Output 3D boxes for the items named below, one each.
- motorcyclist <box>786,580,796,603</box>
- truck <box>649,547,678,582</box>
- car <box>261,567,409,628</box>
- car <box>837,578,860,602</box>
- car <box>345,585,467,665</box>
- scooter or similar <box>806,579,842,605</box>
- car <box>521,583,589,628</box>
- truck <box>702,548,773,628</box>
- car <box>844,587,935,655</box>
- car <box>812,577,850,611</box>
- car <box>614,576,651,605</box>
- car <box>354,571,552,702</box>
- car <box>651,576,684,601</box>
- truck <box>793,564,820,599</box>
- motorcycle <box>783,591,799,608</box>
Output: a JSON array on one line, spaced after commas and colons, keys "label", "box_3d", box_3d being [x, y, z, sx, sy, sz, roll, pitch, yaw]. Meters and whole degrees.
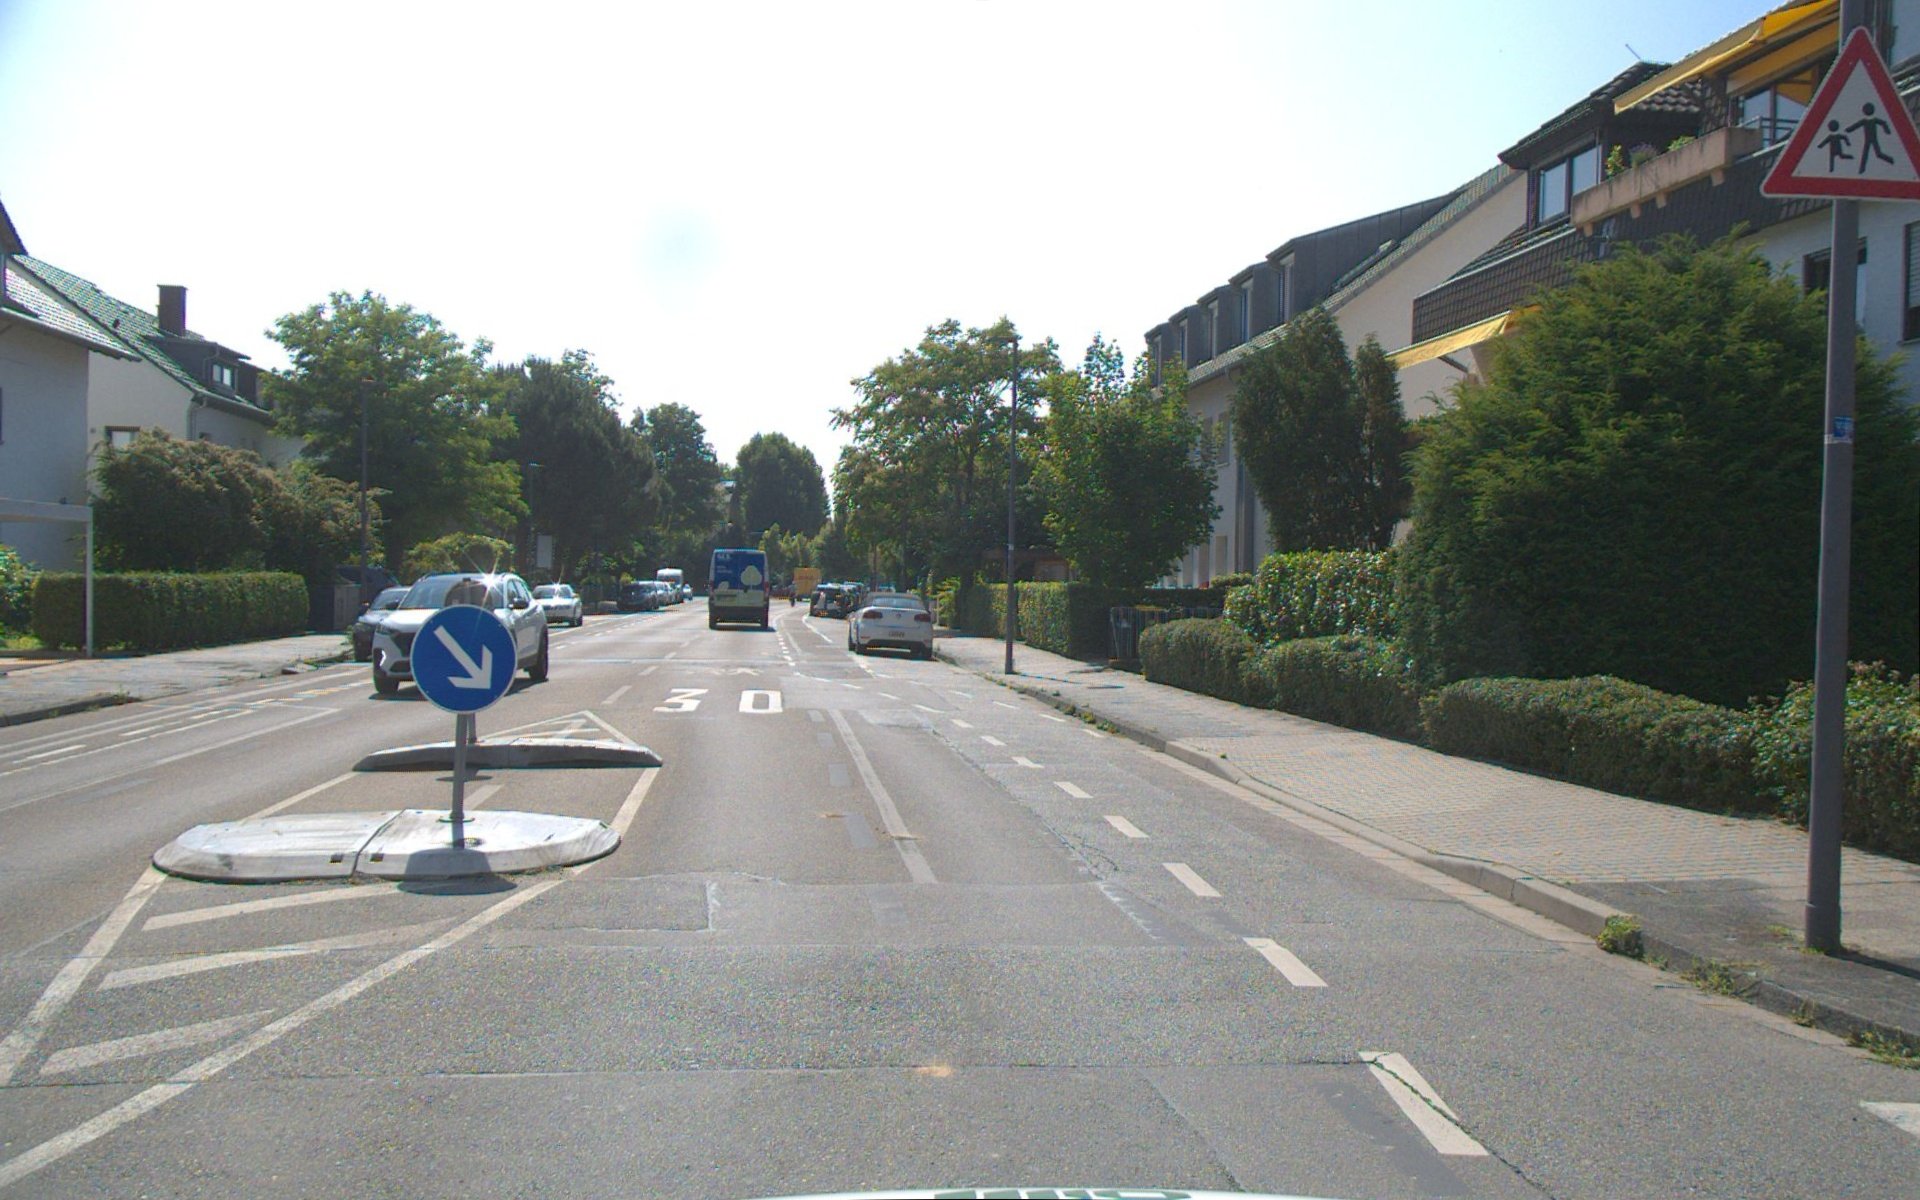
[{"label": "motorcyclist", "box_3d": [-11.513, -0.577, 112.854, 0.659, 1.545, 0.651, 0, 0, -7]}, {"label": "truck", "box_3d": [-22.566, -2.731, 126.073, 2.042, 2.581, 5.455, 0, 1, -10]}, {"label": "car", "box_3d": [-19.474, -0.091, 51.681, 3.911, 1.790, 1.997, 1, 1, -7]}, {"label": "car", "box_3d": [-8.097, -0.758, 120.159, 1.667, 1.706, 3.772, 1, 1, -4]}, {"label": "car", "box_3d": [-11.234, 0.459, 33.780, 1.753, 1.465, 4.144, -1, 1, -11]}, {"label": "scooter or similar", "box_3d": [-6.847, -0.398, 83.253, 1.763, 1.174, 0.717, 5, 0, 38]}, {"label": "car", "box_3d": [-13.902, 0.174, 56.921, 1.751, 1.465, 3.994, 1, 0, -7]}, {"label": "truck", "box_3d": [-7.656, -0.427, 56.648, 2.231, 2.616, 4.382, 0, 0, -10]}, {"label": "car", "box_3d": [-1.699, 0.448, 38.422, 1.707, 1.426, 4.067, 2, 1, -8]}, {"label": "car", "box_3d": [-6.744, -0.320, 85.946, 1.751, 1.667, 4.463, 1, 0, -7]}, {"label": "car", "box_3d": [-18.048, -0.537, 91.246, 1.747, 1.485, 4.079, 1, 1, -8]}, {"label": "car", "box_3d": [-7.269, 0.455, 24.172, 1.878, 1.695, 4.501, -1, 1, -6]}, {"label": "car", "box_3d": [-19.203, -0.759, 108.532, 1.799, 1.623, 3.771, 1, 0, -5]}, {"label": "truck", "box_3d": [-13.452, -1.629, 145.541, 2.170, 2.998, 5.682, 0, 0, -4]}, {"label": "motorcycle", "box_3d": [-11.579, -0.019, 113.053, 1.036, 1.142, 2.988, 0, 0, -7]}]
